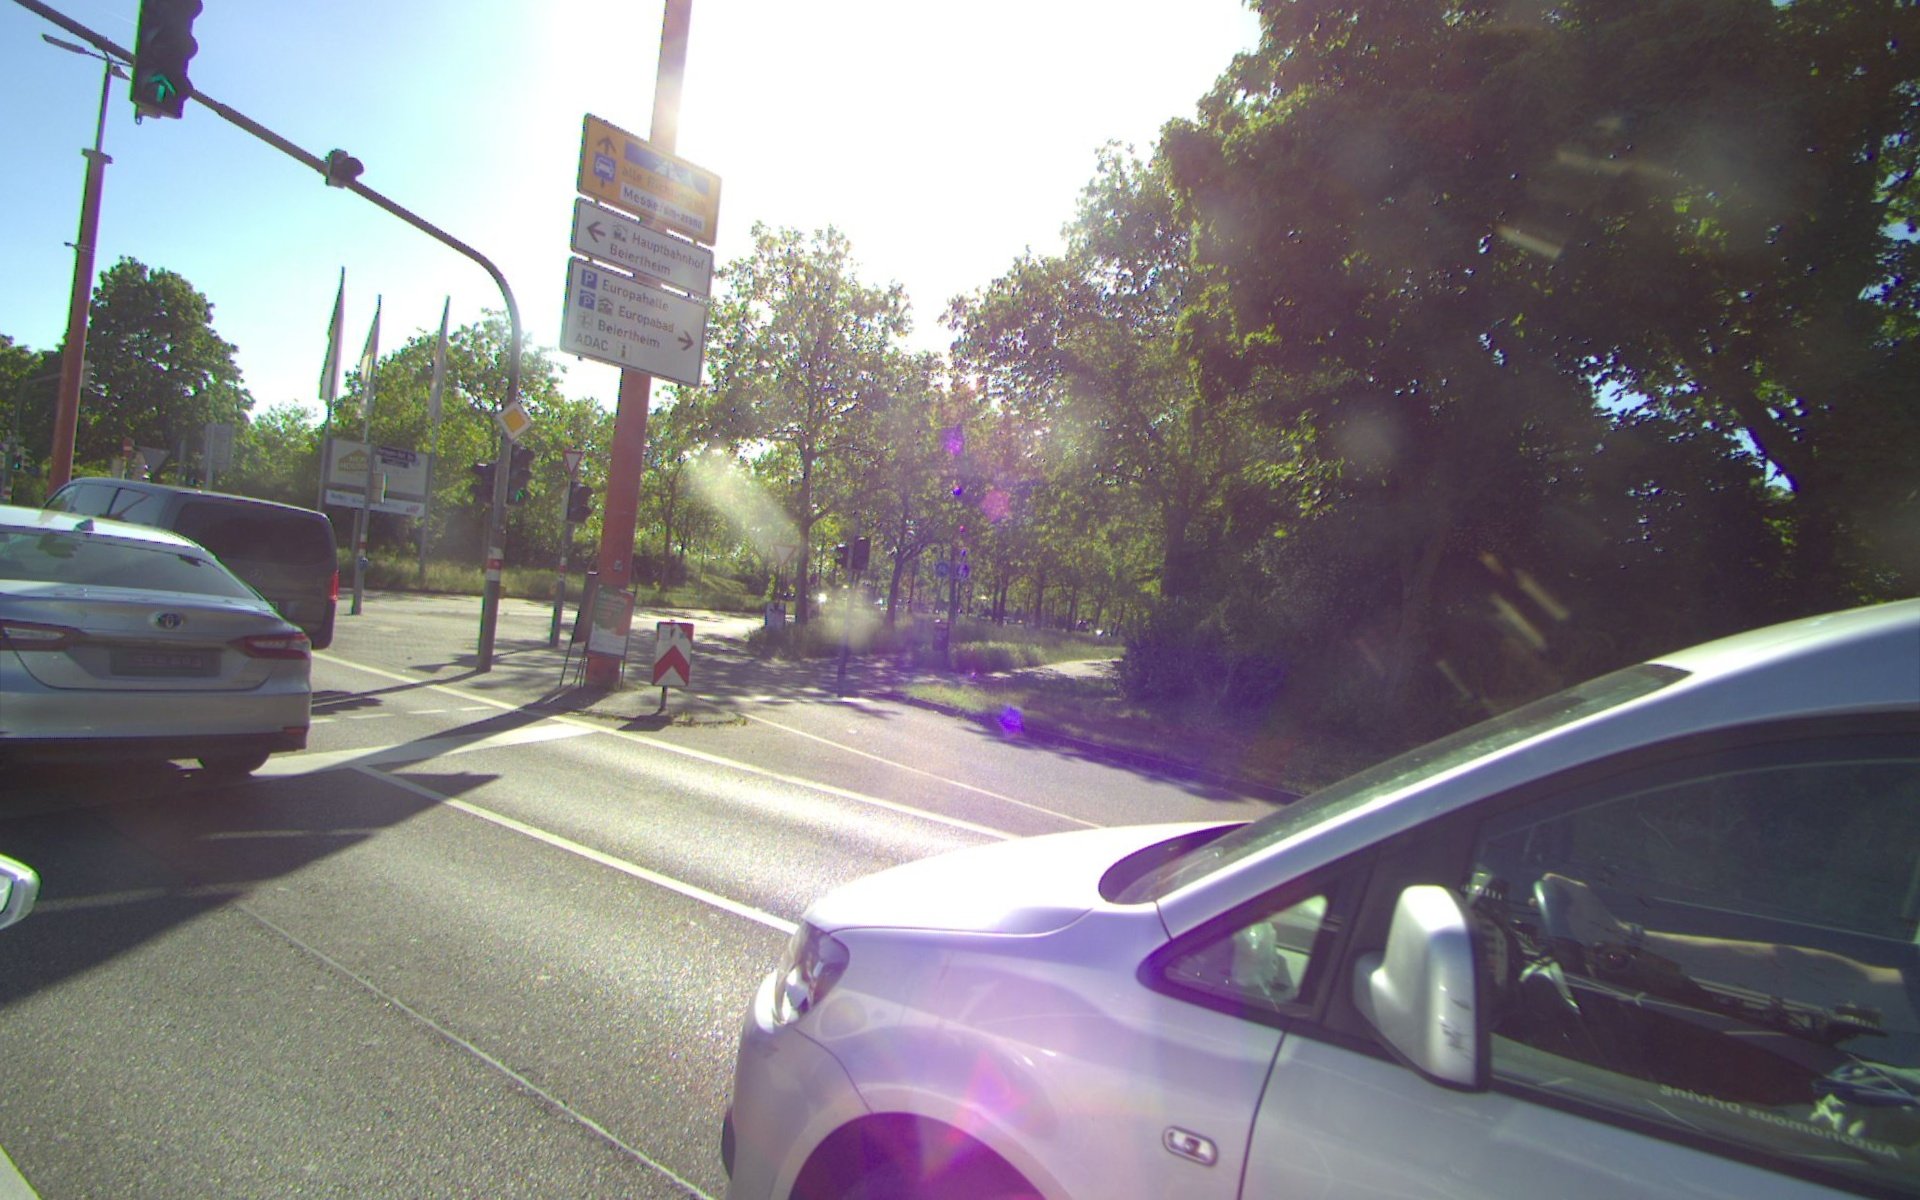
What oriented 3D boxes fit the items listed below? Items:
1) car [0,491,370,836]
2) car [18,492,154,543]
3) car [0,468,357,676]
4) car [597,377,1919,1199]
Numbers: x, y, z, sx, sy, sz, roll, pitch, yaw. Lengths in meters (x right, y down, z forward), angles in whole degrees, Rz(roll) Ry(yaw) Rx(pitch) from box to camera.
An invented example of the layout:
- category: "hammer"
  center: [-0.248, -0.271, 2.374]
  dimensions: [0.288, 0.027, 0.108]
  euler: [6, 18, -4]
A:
- category: "car"
  center: [-5.851, 0.113, 6.117]
  dimensions: [4.604, 1.510, 1.808]
  euler: [7, -2, 31]
- category: "car"
  center: [-39.601, -3.696, 45.722]
  dimensions: [4.252, 1.655, 1.756]
  euler: [7, 0, -31]
- category: "car"
  center: [-9.440, -0.395, 11.857]
  dimensions: [5.019, 1.875, 1.806]
  euler: [7, 0, 32]
- category: "car"
  center: [1.702, 0.819, 1.492]
  dimensions: [4.513, 1.843, 1.806]
  euler: [6, -1, 34]
